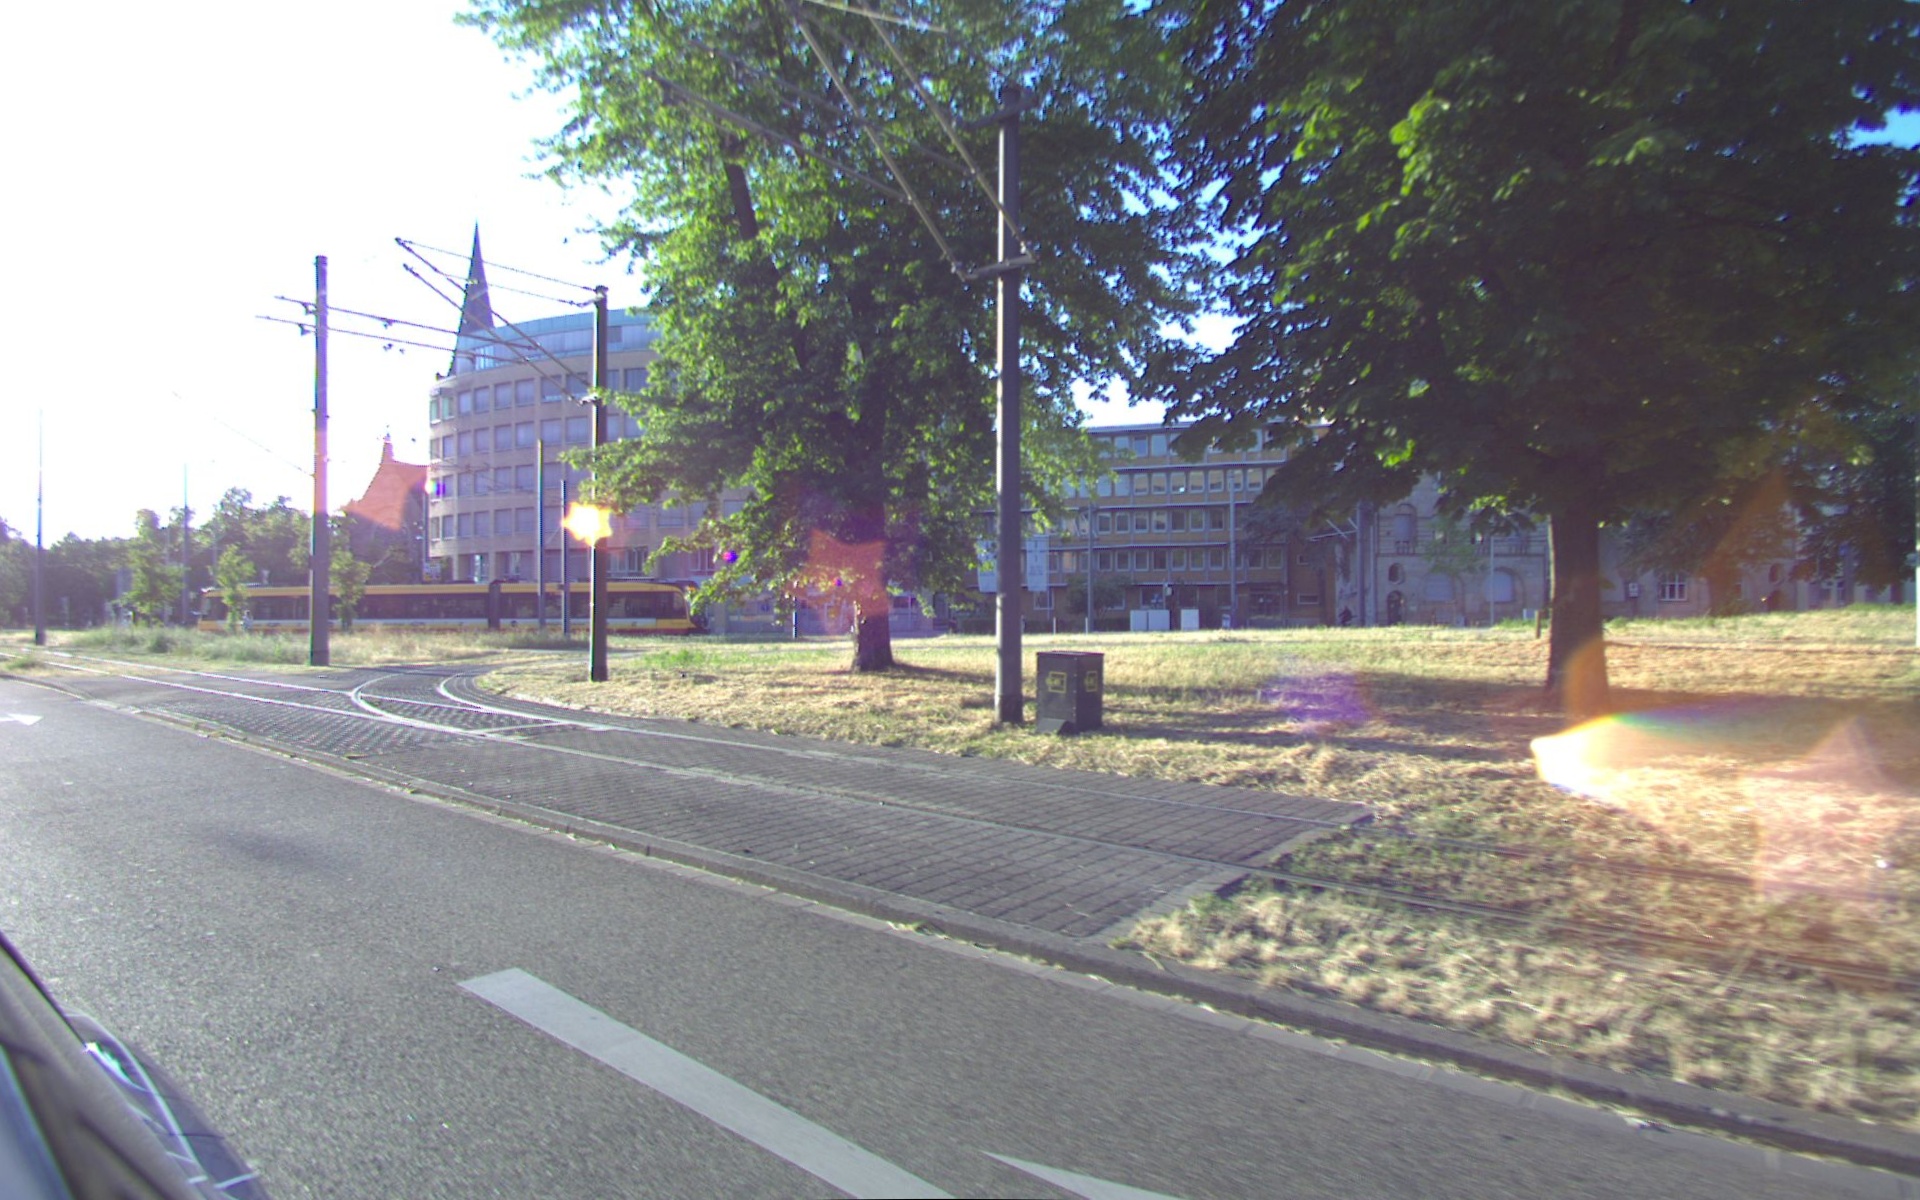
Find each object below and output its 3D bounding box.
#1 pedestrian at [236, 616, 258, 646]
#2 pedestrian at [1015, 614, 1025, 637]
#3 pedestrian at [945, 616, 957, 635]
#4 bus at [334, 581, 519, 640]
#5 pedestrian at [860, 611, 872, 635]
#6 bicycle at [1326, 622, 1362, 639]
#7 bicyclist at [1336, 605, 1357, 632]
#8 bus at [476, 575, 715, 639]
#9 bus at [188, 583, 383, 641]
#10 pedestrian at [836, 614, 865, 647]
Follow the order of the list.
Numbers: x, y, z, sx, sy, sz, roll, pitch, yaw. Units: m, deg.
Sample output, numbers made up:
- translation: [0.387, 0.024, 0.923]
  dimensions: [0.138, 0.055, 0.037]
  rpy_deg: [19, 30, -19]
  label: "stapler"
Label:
- translation: [-35.062, 1.509, 49.749]
  dimensions: [0.698, 1.470, 0.664]
  rpy_deg: [-1, 0, 36]
  label: "pedestrian"
- translation: [4.163, 1.766, 70.295]
  dimensions: [0.571, 1.550, 0.564]
  rpy_deg: [-1, 0, 13]
  label: "pedestrian"
- translation: [-0.625, 1.785, 70.579]
  dimensions: [0.678, 1.334, 0.564]
  rpy_deg: [-1, 0, 18]
  label: "pedestrian"
- translation: [-33.259, 0.662, 63.160]
  dimensions: [10.641, 3.356, 3.741]
  rpy_deg: [-1, 0, 17]
  label: "bus"
- translation: [-6.726, 1.634, 72.375]
  dimensions: [0.614, 1.705, 0.527]
  rpy_deg: [-1, 0, 23]
  label: "pedestrian"
- translation: [24.805, 1.951, 65.305]
  dimensions: [2.167, 1.018, 0.473]
  rpy_deg: [-1, 0, -6]
  label: "bicycle"
- translation: [24.950, 1.163, 65.326]
  dimensions: [0.884, 1.703, 0.954]
  rpy_deg: [-1, 0, -5]
  label: "bicyclist"
- translation: [-21.554, 0.459, 59.880]
  dimensions: [13.580, 3.388, 3.744]
  rpy_deg: [-1, 0, 14]
  label: "bus"
- translation: [-44.219, 0.824, 66.358]
  dimensions: [12.022, 3.482, 3.741]
  rpy_deg: [-1, 0, 16]
  label: "bus"
- translation: [-7.190, 2.006, 66.519]
  dimensions: [1.620, 2.110, 1.054]
  rpy_deg: [-1, 0, 17]
  label: "pedestrian"
